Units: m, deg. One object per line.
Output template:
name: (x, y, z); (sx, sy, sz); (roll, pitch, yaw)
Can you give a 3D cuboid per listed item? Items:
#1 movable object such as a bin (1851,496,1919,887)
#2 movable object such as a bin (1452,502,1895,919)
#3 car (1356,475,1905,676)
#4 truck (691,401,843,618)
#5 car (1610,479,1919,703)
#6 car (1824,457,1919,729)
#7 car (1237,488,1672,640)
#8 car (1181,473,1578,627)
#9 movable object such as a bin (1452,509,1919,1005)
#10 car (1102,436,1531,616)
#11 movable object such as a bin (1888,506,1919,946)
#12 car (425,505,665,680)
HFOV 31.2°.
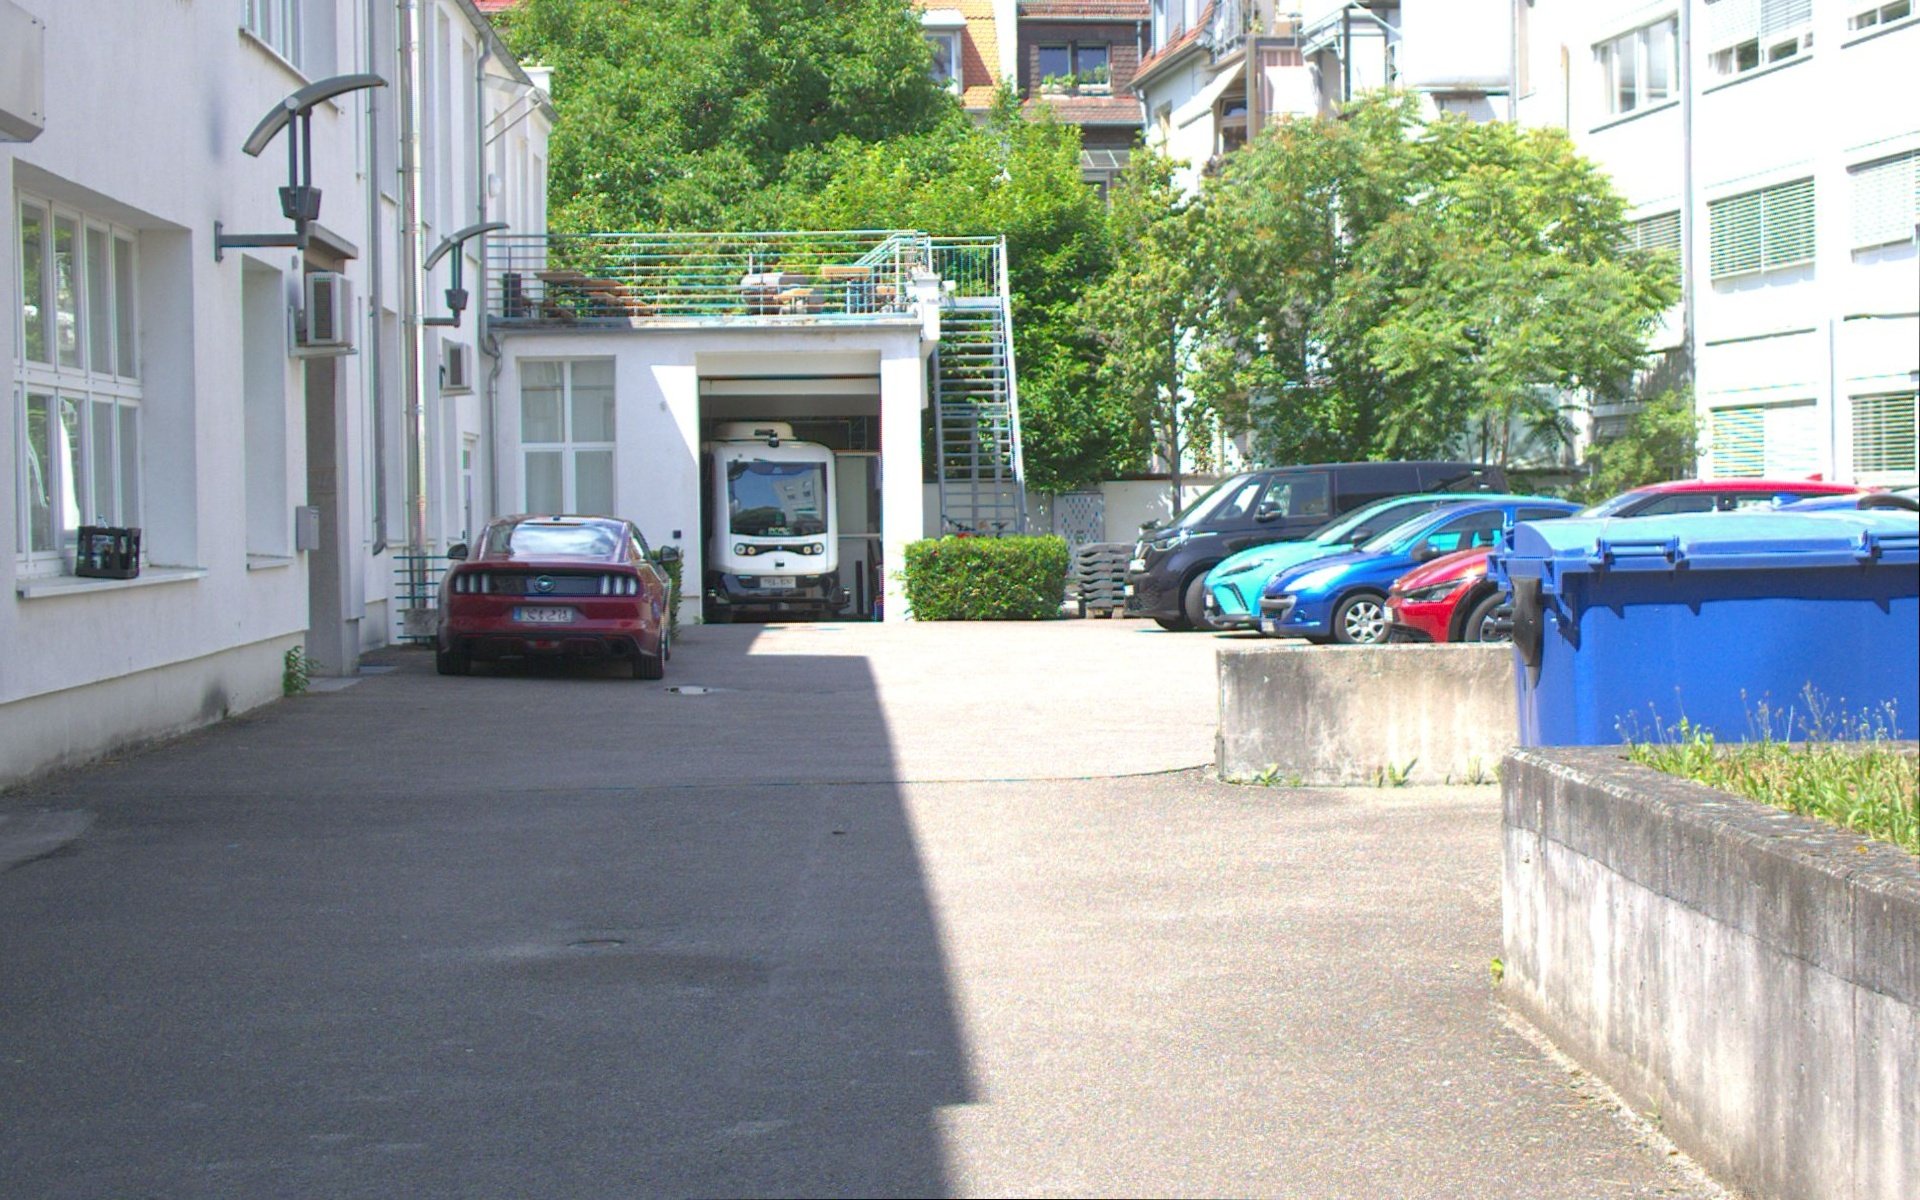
movable object such as a bin: (3.852, 0.299, 11.796); (1.216, 1.322, 1.161); (-1, 2, -4)
movable object such as a bin: (2.406, 0.341, 11.757); (1.192, 1.322, 1.161); (-1, 2, -4)
car: (5.336, -0.226, 27.663); (3.986, 1.473, 1.805); (-1, 2, -4)
truck: (-2.797, -1.293, 49.066); (1.787, 2.927, 4.654); (-1, 2, -7)
car: (6.539, -0.114, 22.911); (3.986, 1.385, 1.805); (-1, 2, -4)
car: (7.130, -0.108, 19.410); (3.986, 1.473, 1.805); (-1, 2, -4)
car: (4.887, -0.380, 34.291); (3.986, 1.385, 1.805); (-1, 2, -4)
car: (4.503, -0.562, 37.257); (3.986, 1.529, 1.805); (-1, 2, -4)
movable object such as a bin: (2.192, 0.418, 9.991); (1.339, 1.322, 1.160); (-1, 2, 0)
car: (4.120, -0.880, 40.278); (4.677, 1.951, 2.077); (-1, 2, -4)
movable object such as a bin: (3.486, 0.379, 10.056); (1.216, 1.322, 1.160); (-1, 2, 0)
car: (-3.542, -0.117, 29.934); (1.798, 1.385, 4.001); (-1, 2, -3)
